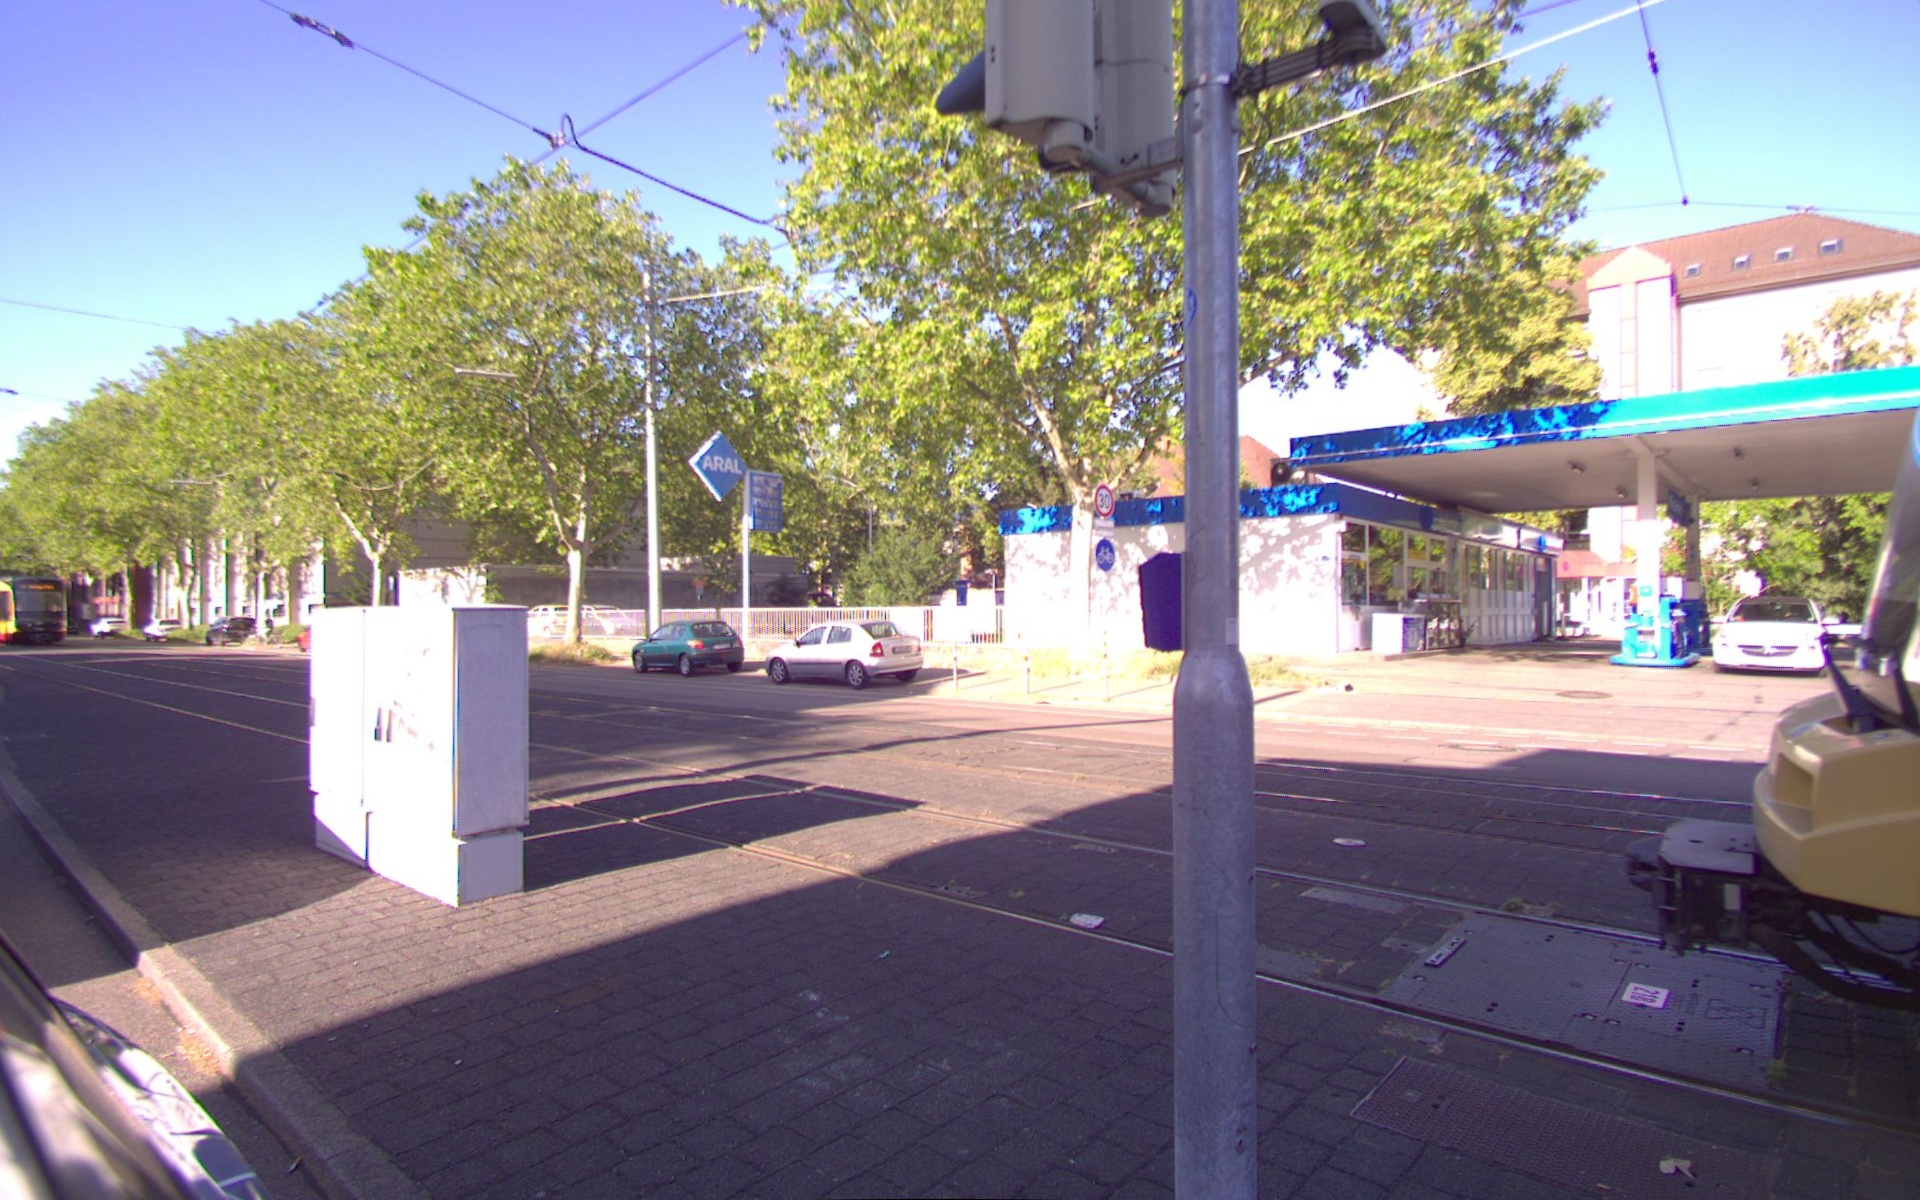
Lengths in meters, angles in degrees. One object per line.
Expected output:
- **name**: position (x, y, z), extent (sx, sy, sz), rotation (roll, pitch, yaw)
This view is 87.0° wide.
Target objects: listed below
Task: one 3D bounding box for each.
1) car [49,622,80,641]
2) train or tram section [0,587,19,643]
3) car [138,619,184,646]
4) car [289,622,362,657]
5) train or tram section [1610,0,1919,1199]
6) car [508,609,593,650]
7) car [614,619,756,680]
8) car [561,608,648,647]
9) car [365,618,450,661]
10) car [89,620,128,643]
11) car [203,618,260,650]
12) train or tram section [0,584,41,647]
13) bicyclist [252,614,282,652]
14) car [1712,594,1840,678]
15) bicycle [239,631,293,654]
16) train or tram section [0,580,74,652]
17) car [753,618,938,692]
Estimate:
- **car**: position (-85.037, 2.936, 96.082), extent (4.098, 1.686, 1.821), rotation (-1, 1, 44)
- **train or tram section**: position (-64.817, 1.003, 66.916), extent (10.179, 3.503, 2.806), rotation (-1, 0, 41)
- **car**: position (-53.836, 2.151, 68.187), extent (4.098, 1.686, 1.821), rotation (-1, 1, 44)
- **car**: position (-28.961, 1.765, 46.162), extent (4.001, 1.418, 1.821), rotation (-1, 1, 44)
- **train or tram section**: position (5.421, -0.535, 0.829), extent (7.955, 3.526, 2.786), rotation (-1, -2, 40)
- **car**: position (-17.130, 1.187, 42.262), extent (4.002, 1.545, 1.820), rotation (-1, 1, 45)
- **car**: position (-7.426, 1.268, 27.117), extent (4.138, 1.418, 1.820), rotation (-1, 1, 45)
- **car**: position (-15.389, 1.165, 43.754), extent (3.999, 1.545, 1.822), rotation (-1, 1, 42)
- **car**: position (-21.961, 1.533, 40.169), extent (4.002, 1.545, 1.820), rotation (-1, 1, 45)
- **car**: position (-66.940, 2.479, 79.559), extent (4.098, 1.686, 1.821), rotation (-1, 1, 44)
- **car**: position (-40.653, 1.877, 56.463), extent (4.098, 1.628, 1.821), rotation (-1, 1, 44)
- **train or tram section**: position (-57.213, 0.906, 60.129), extent (10.179, 3.503, 2.806), rotation (-1, 0, 42)
- **bicyclist**: position (-34.944, 1.672, 51.042), extent (1.059, 1.878, 0.719), rotation (-1, -1, 9)
- **car**: position (15.974, 0.662, 19.773), extent (1.780, 1.475, 3.946), rotation (-1, -1, 40)
- **bicycle**: position (-35.018, 2.138, 51.049), extent (2.505, 1.129, 0.652), rotation (-1, -1, 10)
- **train or tram section**: position (-49.579, 0.801, 53.446), extent (10.177, 3.503, 2.825), rotation (-1, 0, 41)
- **car**: position (-2.618, 1.171, 22.627), extent (3.997, 1.418, 1.823), rotation (-1, 1, 40)
